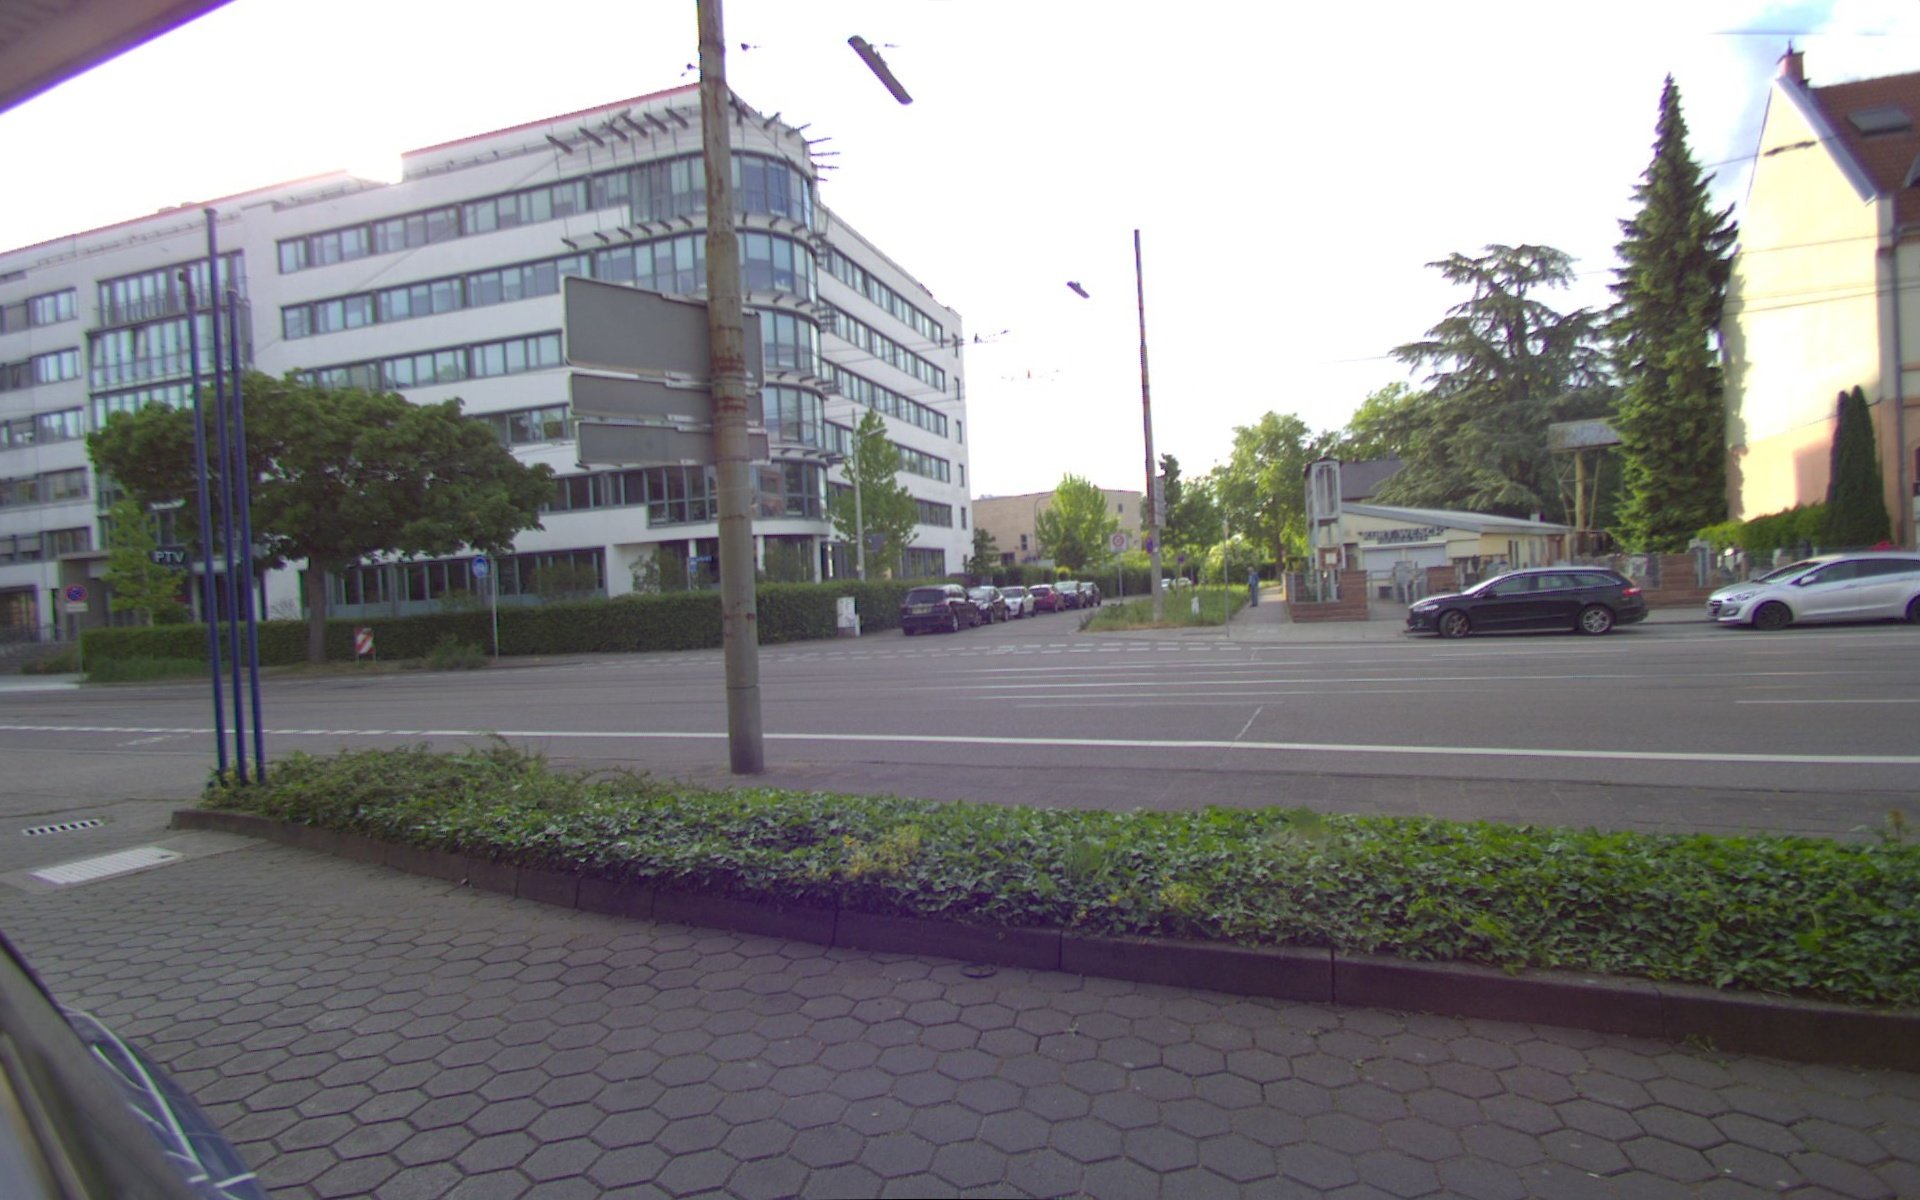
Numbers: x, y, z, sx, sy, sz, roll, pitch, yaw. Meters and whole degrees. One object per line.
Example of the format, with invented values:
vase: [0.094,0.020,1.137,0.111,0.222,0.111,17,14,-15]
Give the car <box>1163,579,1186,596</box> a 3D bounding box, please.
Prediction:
car: [22.559,-1.298,106.315,1.774,1.653,4.060,-4,0,19]

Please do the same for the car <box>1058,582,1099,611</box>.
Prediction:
car: [7.371,-0.232,62.674,1.773,1.653,4.064,-4,0,17]

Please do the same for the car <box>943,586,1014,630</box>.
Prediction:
car: [0.798,0.291,40.895,1.773,1.565,4.083,-4,0,17]

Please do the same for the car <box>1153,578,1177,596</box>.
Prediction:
car: [20.421,-1.269,100.617,1.774,1.653,4.060,-4,0,19]

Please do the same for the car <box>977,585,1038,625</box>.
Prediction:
car: [2.206,0.178,45.757,1.773,1.565,4.083,-4,0,17]

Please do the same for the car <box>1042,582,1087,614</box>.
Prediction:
car: [5.980,-0.134,57.663,1.773,1.653,4.064,-4,0,17]

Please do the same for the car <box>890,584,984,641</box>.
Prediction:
car: [-0.721,0.383,35.538,1.962,1.625,4.411,-4,2,17]

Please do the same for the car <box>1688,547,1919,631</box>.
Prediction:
car: [18.495,-0.253,21.502,4.459,1.486,1.986,-4,0,22]

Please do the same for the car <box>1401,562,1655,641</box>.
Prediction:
car: [12.918,0.047,23.418,4.791,1.507,1.986,-3,0,22]

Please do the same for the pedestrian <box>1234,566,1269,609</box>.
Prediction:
pedestrian: [12.711,-0.527,44.158,0.988,1.843,1.096,-1,0,-28]

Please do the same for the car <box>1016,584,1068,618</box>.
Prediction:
car: [4.286,0.025,52.362,1.773,1.552,4.018,-4,0,17]
